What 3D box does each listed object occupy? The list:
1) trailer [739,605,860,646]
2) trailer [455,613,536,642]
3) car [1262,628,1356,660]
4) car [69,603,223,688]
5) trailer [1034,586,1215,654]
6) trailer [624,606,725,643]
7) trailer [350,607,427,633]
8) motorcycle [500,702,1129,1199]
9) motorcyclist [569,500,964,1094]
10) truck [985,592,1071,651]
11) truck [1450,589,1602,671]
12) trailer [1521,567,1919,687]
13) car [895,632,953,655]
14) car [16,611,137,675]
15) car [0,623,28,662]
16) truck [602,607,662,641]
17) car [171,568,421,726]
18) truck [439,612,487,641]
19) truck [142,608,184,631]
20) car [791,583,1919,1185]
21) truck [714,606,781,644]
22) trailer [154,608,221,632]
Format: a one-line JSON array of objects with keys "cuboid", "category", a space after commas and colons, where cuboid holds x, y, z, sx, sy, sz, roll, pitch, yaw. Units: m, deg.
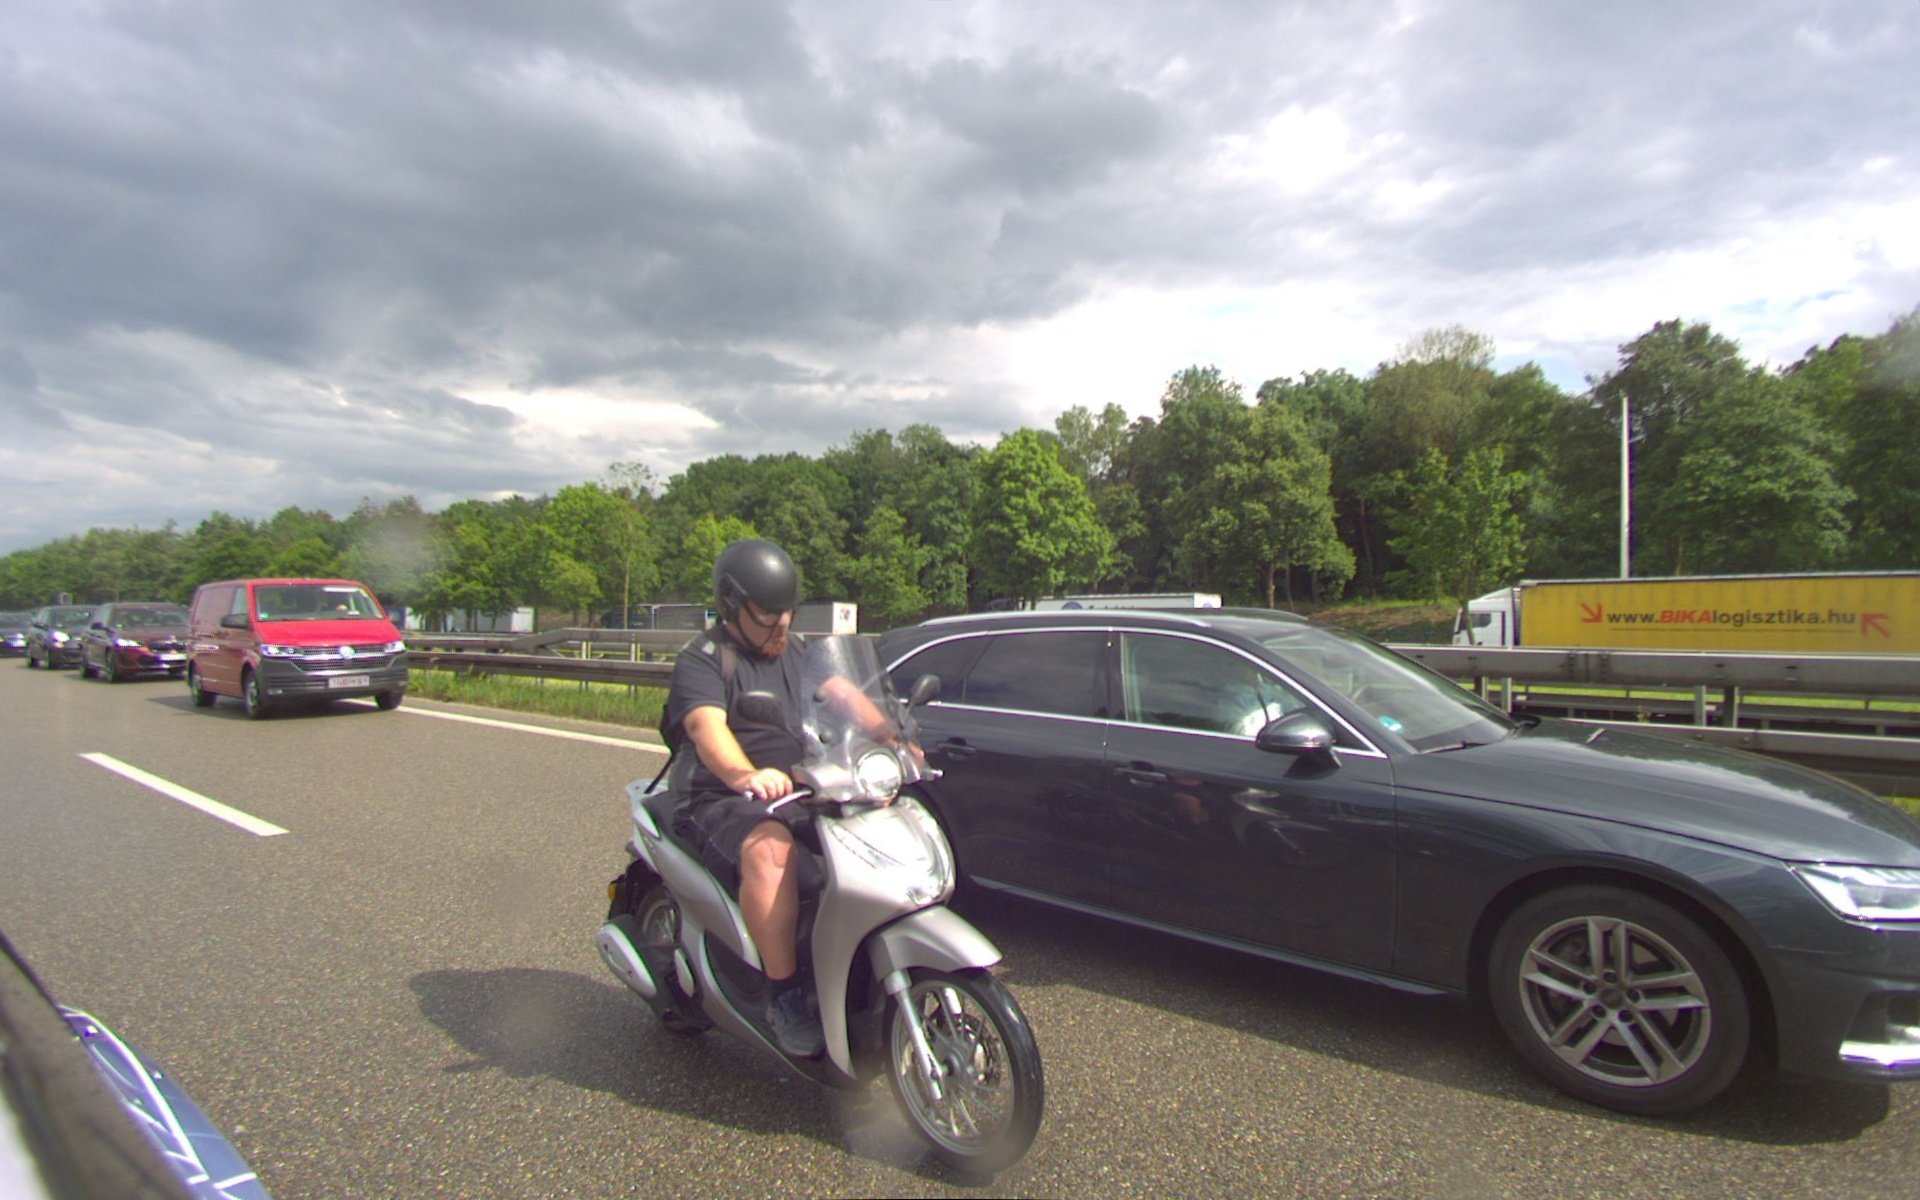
[{"cuboid": [-13.449, 2.097, 83.532, 12.173, 3.217, 2.987, -1, -2, 43], "category": "trailer"}, {"cuboid": [-54.196, 3.163, 117.799, 12.631, 3.296, 3.153, -1, -2, 38], "category": "trailer"}, {"cuboid": [17.196, 2.134, 49.979, 1.871, 1.514, 4.005, 2, -2, -41], "category": "car"}, {"cuboid": [-17.840, 0.917, 22.116, 4.292, 1.682, 1.871, -1, -1, 40], "category": "car"}, {"cuboid": [9.272, 1.189, 58.979, 2.156, 3.627, 11.734, 2, -2, -42], "category": "trailer"}, {"cuboid": [-27.110, 2.279, 95.663, 12.640, 3.296, 2.577, -1, -2, 41], "category": "trailer"}, {"cuboid": [-74.531, 2.561, 131.886, 13.374, 3.296, 3.050, 0, -2, 34], "category": "trailer"}, {"cuboid": [-0.543, 0.932, 3.020, 1.979, 1.095, 0.669, -1, 0, 38], "category": "motorcycle"}, {"cuboid": [-0.596, 0.482, 3.055, 1.018, 1.453, 0.664, 0, 0, 38], "category": "motorcyclist"}, {"cuboid": [4.284, 1.386, 64.563, 2.136, 3.647, 5.585, 2, -2, -42], "category": "truck"}, {"cuboid": [23.137, 1.162, 41.582, 1.950, 3.121, 5.087, -1, 0, -37], "category": "truck"}, {"cuboid": [27.483, 0.836, 35.838, 1.967, 3.722, 13.688, 0, 0, -37], "category": "trailer"}, {"cuboid": [-2.597, 3.090, 72.496, 4.002, 1.514, 1.873, -1, -2, 45], "category": "car"}, {"cuboid": [-23.561, 1.081, 26.934, 4.051, 1.578, 1.871, -1, -1, 41], "category": "car"}, {"cuboid": [-32.494, 1.394, 33.722, 3.997, 1.245, 1.654, -1, 0, 40], "category": "car"}, {"cuboid": [-32.594, 2.345, 100.365, 6.532, 3.275, 2.549, 0, -2, 41], "category": "truck"}, {"cuboid": [-10.013, 0.625, 15.101, 4.747, 2.000, 1.871, -1, -1, 41], "category": "car"}, {"cuboid": [-60.196, 3.205, 122.533, 5.385, 3.280, 3.142, 0, -3, 39], "category": "truck"}, {"cuboid": [-126.052, 3.064, 160.005, 6.307, 3.509, 2.674, 0, -2, 27], "category": "truck"}, {"cuboid": [1.419, 0.690, 4.211, 4.464, 1.422, 1.702, -1, -1, 40], "category": "car"}, {"cuboid": [-18.542, 2.188, 88.256, 5.596, 3.208, 3.009, -1, -2, 43], "category": "truck"}, {"cuboid": [-119.783, 3.034, 156.816, 13.352, 3.539, 2.681, 0, -2, 27], "category": "trailer"}]
